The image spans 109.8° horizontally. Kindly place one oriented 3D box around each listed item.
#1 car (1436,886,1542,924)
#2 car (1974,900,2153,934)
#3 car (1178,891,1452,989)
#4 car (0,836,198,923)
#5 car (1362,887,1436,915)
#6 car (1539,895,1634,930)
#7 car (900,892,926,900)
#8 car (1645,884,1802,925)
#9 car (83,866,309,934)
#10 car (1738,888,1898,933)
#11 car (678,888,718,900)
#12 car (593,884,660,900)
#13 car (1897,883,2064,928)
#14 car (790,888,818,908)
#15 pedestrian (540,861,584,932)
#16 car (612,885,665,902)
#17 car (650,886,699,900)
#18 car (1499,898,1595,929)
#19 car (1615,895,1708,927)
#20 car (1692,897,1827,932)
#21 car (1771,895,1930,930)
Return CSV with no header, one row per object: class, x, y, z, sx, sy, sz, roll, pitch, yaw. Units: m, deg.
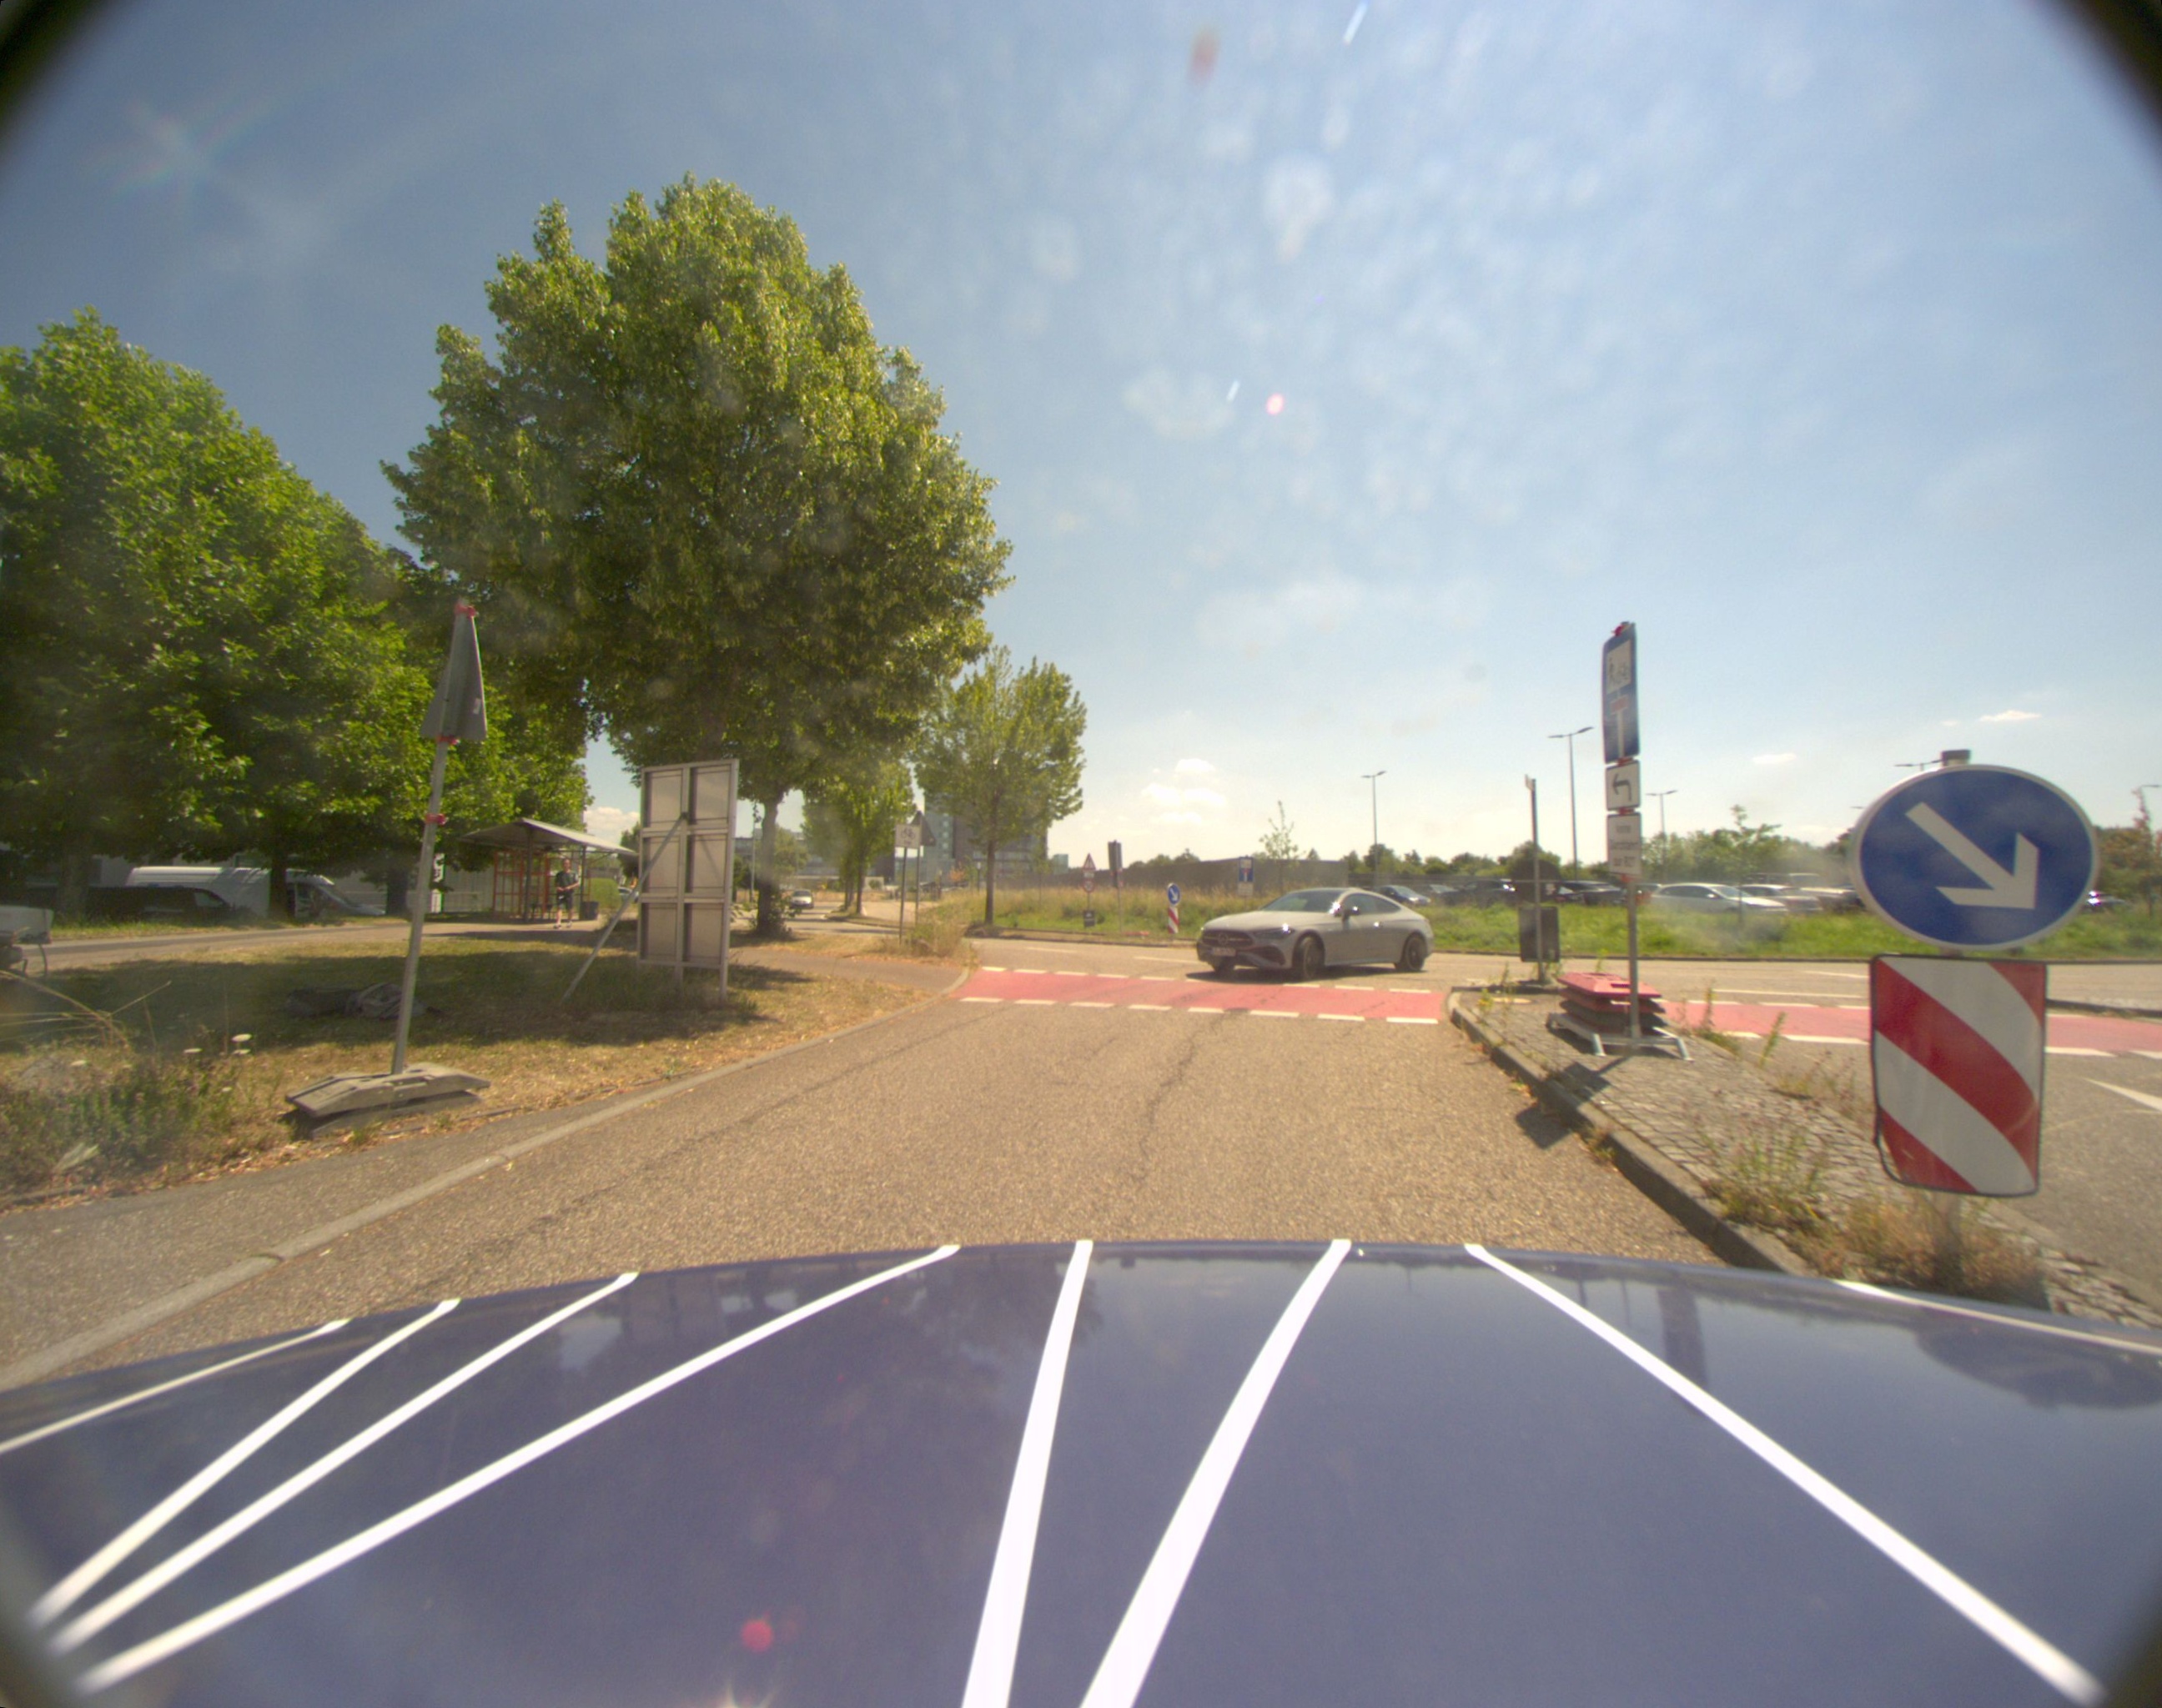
car,19.594,2.471,36.750,1.779,1.679,4.600,3,-5,-18
car,40.123,2.606,31.190,1.910,1.283,3.998,1,-5,-15
car,4.023,1.411,12.780,4.643,1.374,1.894,4,-5,-34
car,-22.623,0.550,16.903,1.842,1.717,3.996,2,-2,-14
car,17.497,2.593,41.996,1.655,1.436,3.633,3,-3,-24
car,25.097,2.889,37.891,1.771,1.587,3.635,2,-2,-18
car,-26.968,6.767,121.783,3.848,1.266,1.607,2,-3,-17
car,21.938,1.727,26.164,1.576,1.289,3.875,0,-3,-16
car,-27.787,1.498,24.081,4.272,2.000,1.547,2,-6,-27
car,26.827,2.042,27.845,1.877,1.517,3.747,0,-3,-12
car,-44.760,4.648,88.926,3.896,1.266,1.703,2,-3,-17
car,-36.150,3.058,60.561,4.280,1.174,1.493,1,-5,-18
car,34.679,1.956,29.444,1.619,1.614,3.844,2,-3,-19
car,-22.666,3.632,62.310,1.680,1.494,3.572,1,-5,-13
pedestrian,-12.334,1.028,18.073,0.578,1.658,0.532,-1,-5,11
car,-38.102,3.418,65.484,3.670,1.316,1.655,1,-5,-17
car,-40.008,3.831,74.851,3.896,1.266,1.703,2,-3,-17
car,22.661,2.878,37.076,1.654,1.354,3.844,2,-2,-18
car,29.466,2.918,38.701,1.524,1.563,3.417,2,-5,-20
car,24.172,2.130,27.220,1.502,1.174,3.268,0,-3,-17
car,29.229,2.198,29.021,1.587,1.249,3.942,1,-3,-20
